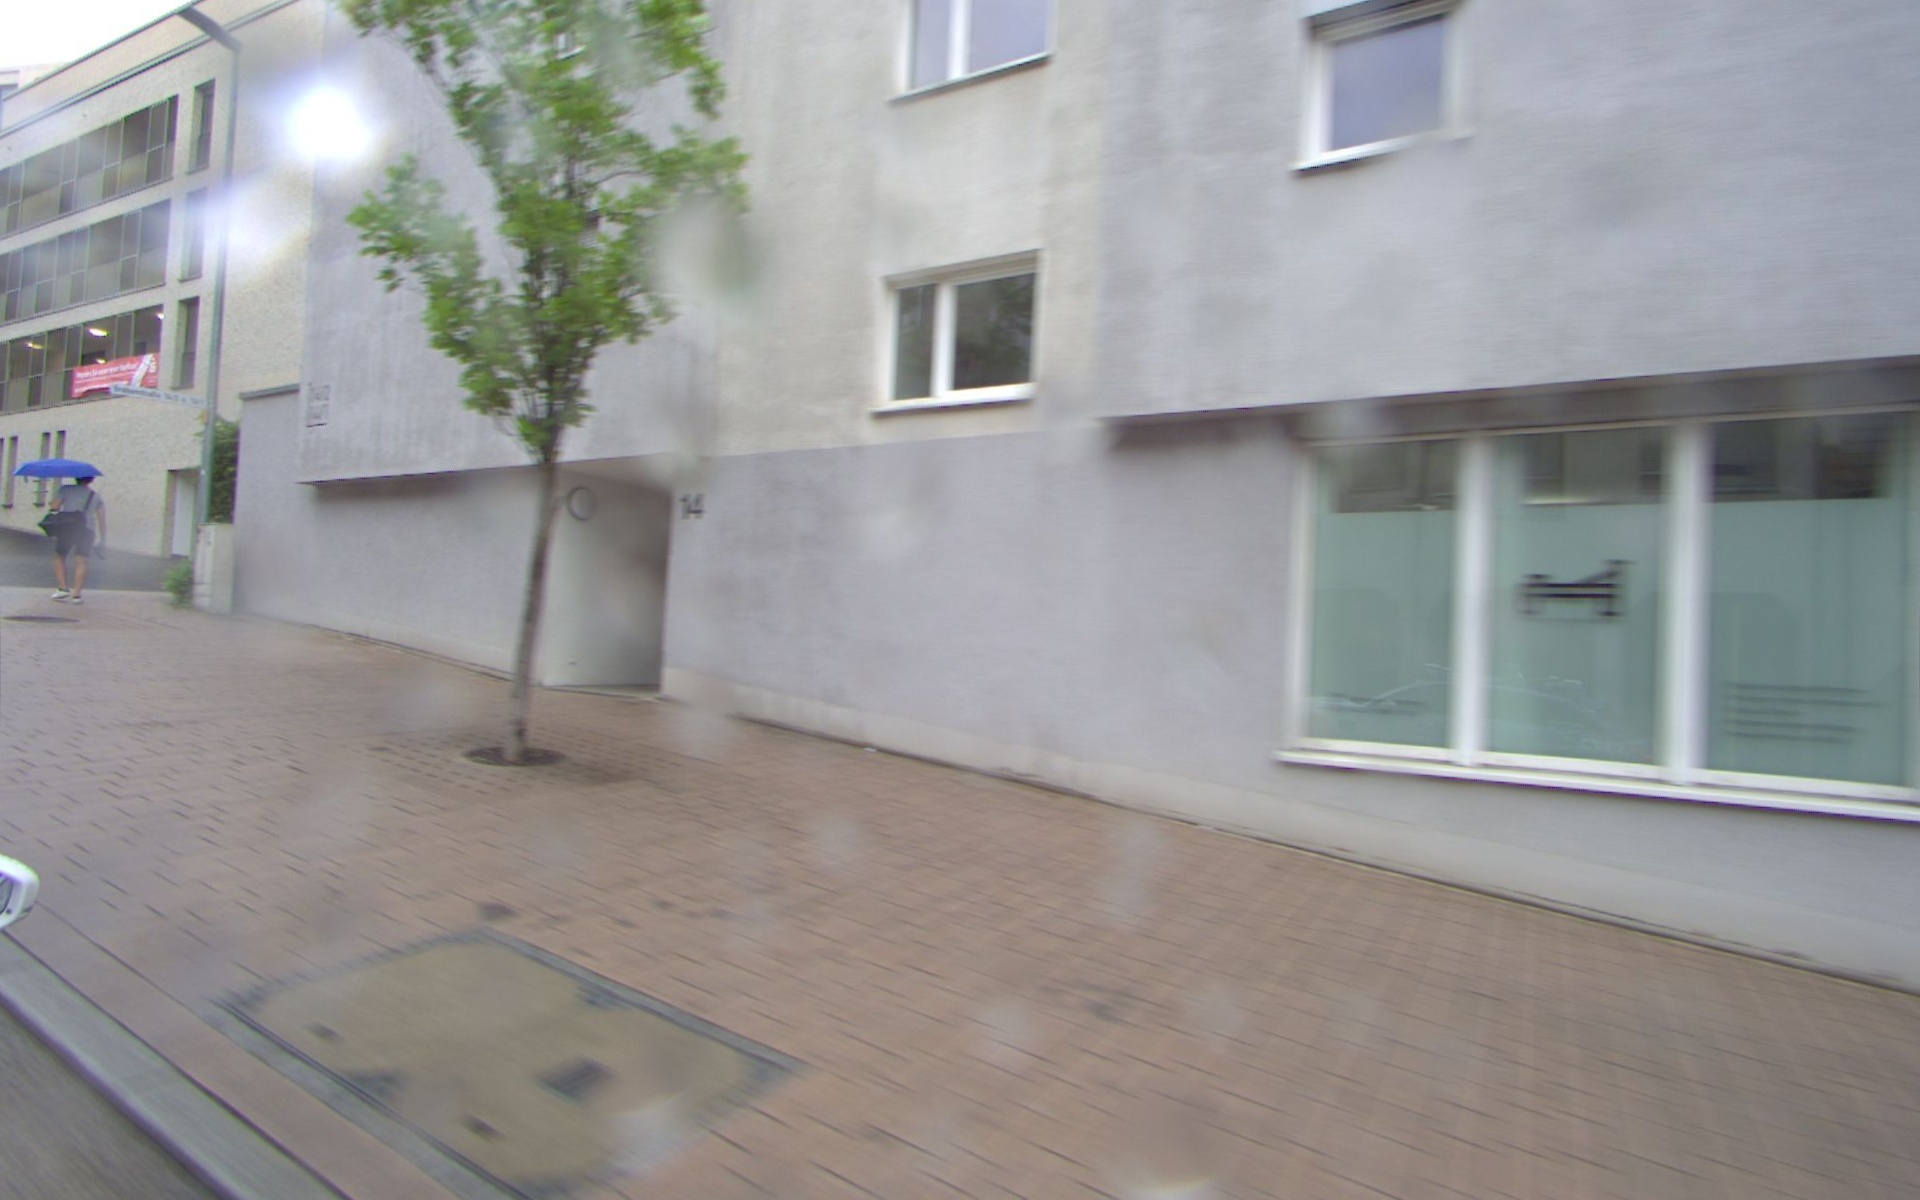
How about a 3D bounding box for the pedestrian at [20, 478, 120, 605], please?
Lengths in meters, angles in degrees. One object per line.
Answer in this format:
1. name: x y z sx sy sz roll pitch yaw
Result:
1. pedestrian: -11.739 -0.771 13.270 1.021 1.563 0.735 7 3 34
